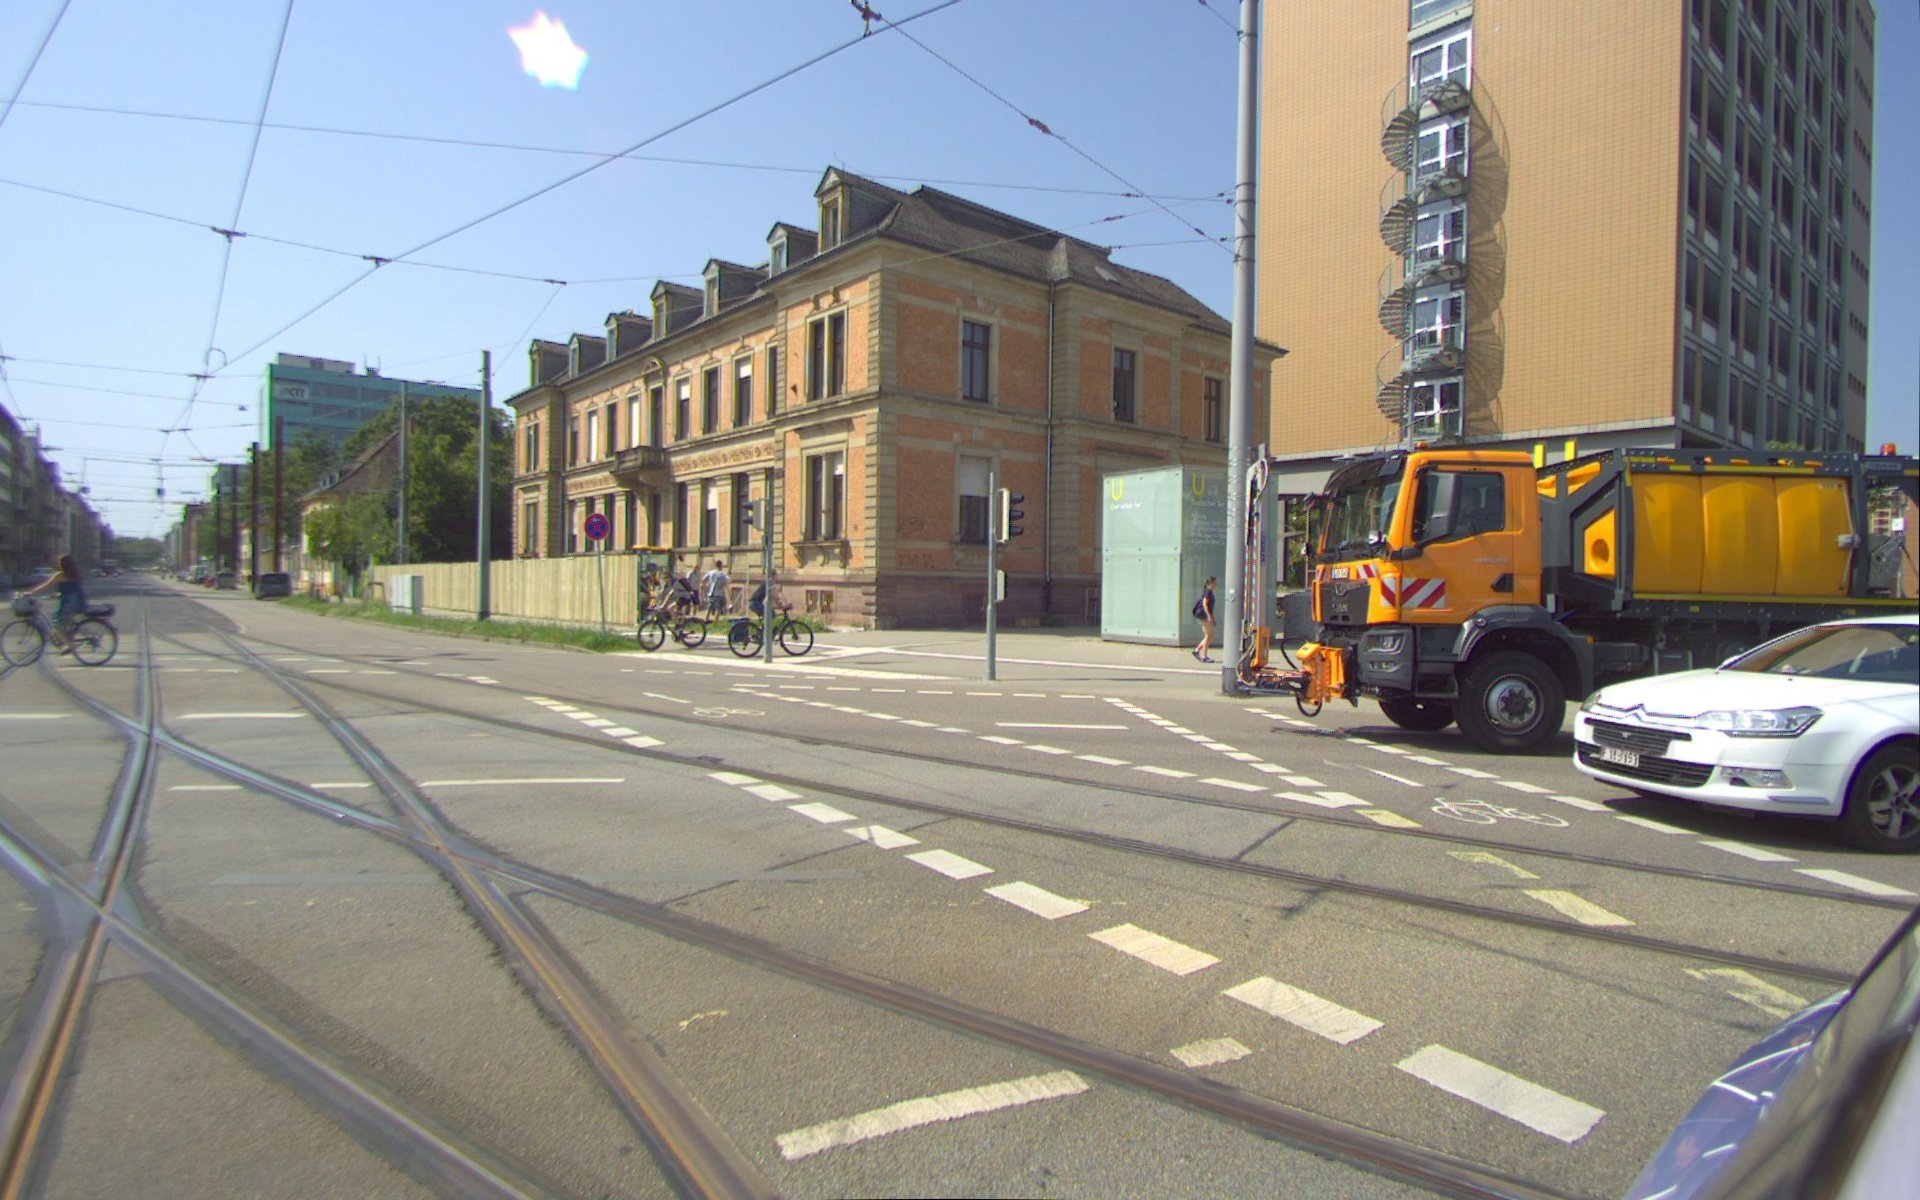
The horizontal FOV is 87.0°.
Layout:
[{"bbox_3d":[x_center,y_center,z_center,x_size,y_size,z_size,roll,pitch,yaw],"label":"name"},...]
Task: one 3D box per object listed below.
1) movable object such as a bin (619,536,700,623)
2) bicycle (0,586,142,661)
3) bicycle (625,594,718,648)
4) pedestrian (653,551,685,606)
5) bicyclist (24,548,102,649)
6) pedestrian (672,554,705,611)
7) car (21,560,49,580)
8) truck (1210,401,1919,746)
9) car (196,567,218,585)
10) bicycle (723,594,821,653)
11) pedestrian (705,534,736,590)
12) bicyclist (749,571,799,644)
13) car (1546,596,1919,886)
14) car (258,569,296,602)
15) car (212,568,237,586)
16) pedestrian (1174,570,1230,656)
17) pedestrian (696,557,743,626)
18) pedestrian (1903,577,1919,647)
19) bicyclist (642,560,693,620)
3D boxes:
[{"bbox_3d":[-10.204,-0.709,34.143,1.781,2.705,4.462,0,1,-28],"label":"movable object such as a bin"},{"bbox_3d":[-13.824,0.351,15.527,2.085,1.125,0.442,0,1,-5],"label":"bicycle"},{"bbox_3d":[-6.263,0.449,21.967,1.817,1.125,0.714,0,1,-28],"label":"bicycle"},{"bbox_3d":[-9.047,-0.679,31.457,0.677,1.693,0.680,1,1,19],"label":"pedestrian"},{"bbox_3d":[-13.737,-0.027,15.512,0.631,1.499,0.659,1,1,-5],"label":"bicyclist"},{"bbox_3d":[-8.185,-0.544,30.496,0.677,1.693,0.680,1,1,19],"label":"pedestrian"},{"bbox_3d":[-100.300,-3.246,109.798,1.964,2.039,3.997,0,1,-39],"label":"car"},{"bbox_3d":[6.717,-0.263,11.324,7.056,3.270,3.041,1,0,1],"label":"truck"},{"bbox_3d":[-86.795,-2.727,116.668,1.962,1.928,3.999,0,0,-36],"label":"car"},{"bbox_3d":[-3.799,0.471,20.540,1.918,1.140,0.472,1,1,-5],"label":"bicycle"},{"bbox_3d":[-7.340,-1.154,31.017,0.677,1.693,0.680,1,1,19],"label":"pedestrian"},{"bbox_3d":[-3.756,0.140,20.519,0.911,1.441,0.804,1,1,-6],"label":"bicyclist"},{"bbox_3d":[6.694,0.841,6.881,4.509,1.639,1.774,1,-1,-7],"label":"car"},{"bbox_3d":[-44.462,-0.910,65.956,1.961,2.039,4.001,0,0,-33],"label":"car"},{"bbox_3d":[-75.071,-2.312,103.309,1.962,1.705,3.999,0,0,-36],"label":"car"},{"bbox_3d":[4.756,0.230,19.863,0.940,1.628,0.787,1,2,25],"label":"pedestrian"},{"bbox_3d":[-6.475,-0.239,27.263,1.026,1.836,0.680,1,1,19],"label":"pedestrian"},{"bbox_3d":[19.948,0.241,20.635,0.831,1.412,0.788,0,1,-25],"label":"pedestrian"},{"bbox_3d":[-6.337,-0.229,21.909,0.846,1.249,1.103,0,1,-27],"label":"bicyclist"}]
